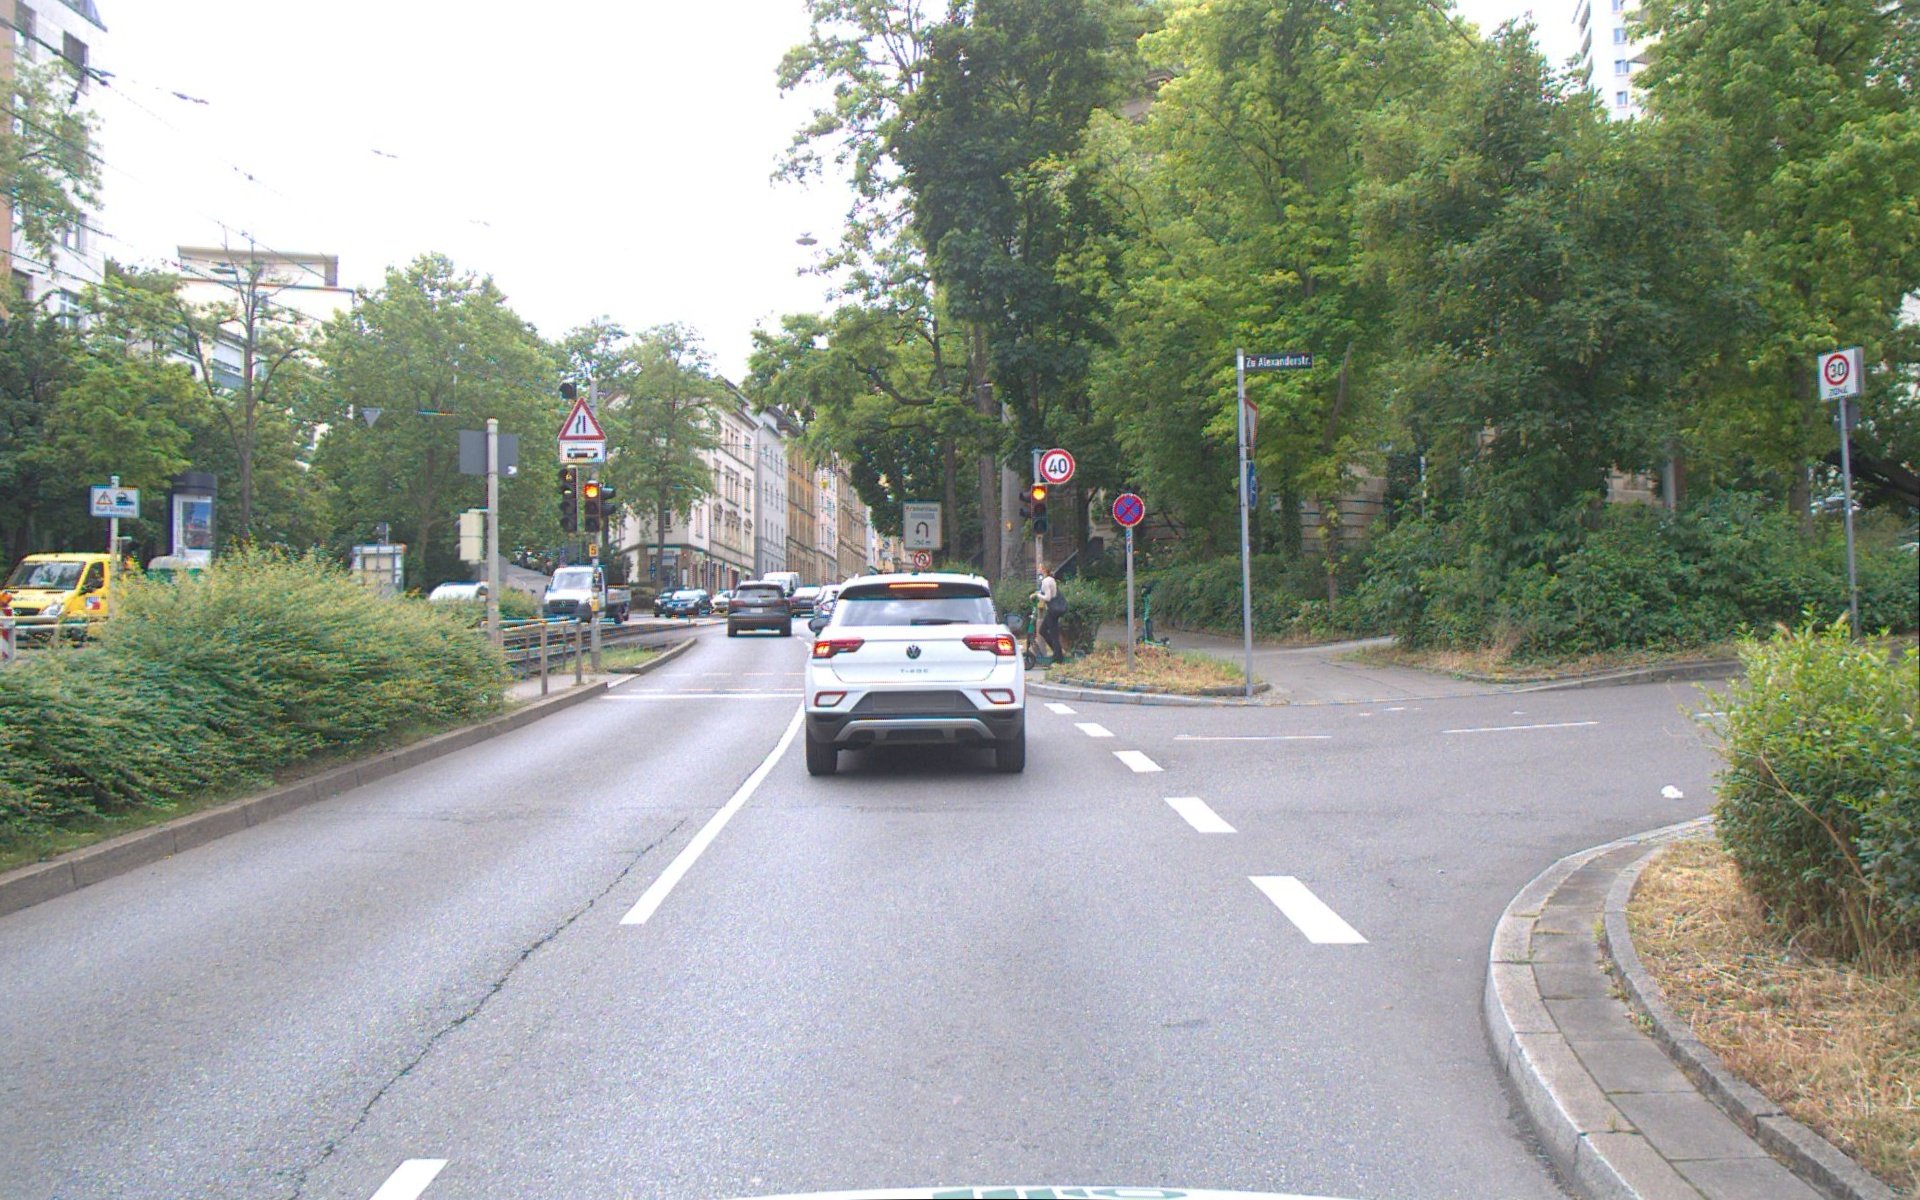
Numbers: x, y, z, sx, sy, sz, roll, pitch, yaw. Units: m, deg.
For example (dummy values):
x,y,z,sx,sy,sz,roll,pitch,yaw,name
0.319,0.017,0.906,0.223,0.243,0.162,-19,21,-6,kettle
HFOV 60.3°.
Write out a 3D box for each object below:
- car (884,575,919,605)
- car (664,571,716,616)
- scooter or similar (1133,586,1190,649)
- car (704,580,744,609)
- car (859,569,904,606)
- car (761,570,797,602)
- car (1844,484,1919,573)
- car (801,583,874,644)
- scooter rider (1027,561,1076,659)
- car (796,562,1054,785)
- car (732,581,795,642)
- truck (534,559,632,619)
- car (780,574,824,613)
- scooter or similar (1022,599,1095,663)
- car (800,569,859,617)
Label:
x,y,z,sx,sy,sz,roll,pitch,yaw,name
-4.476,-0.798,127.354,2.372,2.207,6.034,-2,0,1,car
-13.544,-0.277,83.160,1.953,2.049,3.999,2,-2,-1,car
3.665,0.311,30.206,0.467,1.119,1.361,-2,0,-19,scooter or similar
-14.893,-0.329,104.549,1.953,1.652,3.999,2,-2,-1,car
-4.835,-0.778,102.600,2.372,2.207,6.034,-2,0,1,car
-12.200,-0.925,111.602,1.953,2.049,3.999,-2,0,-1,car
24.054,-1.752,40.298,4.053,2.049,1.996,-1,0,-8,car
-3.474,0.427,47.520,1.864,1.602,3.832,2,-2,-1,car
1.510,0.167,27.383,0.761,1.585,0.532,-2,0,1,scooter rider
-0.262,0.494,14.241,1.898,1.593,4.047,0,2,0,car
-5.975,0.337,50.630,1.804,1.770,3.995,1,0,-6,car
-14.954,-0.441,65.979,2.372,2.207,6.034,2,0,1,truck
-7.622,-0.308,80.029,1.789,1.788,3.779,-2,0,-1,car
1.621,0.512,27.392,1.162,1.011,0.531,-2,0,1,scooter or similar
-4.984,-0.238,63.517,1.953,1.652,3.999,2,-2,-1,car
